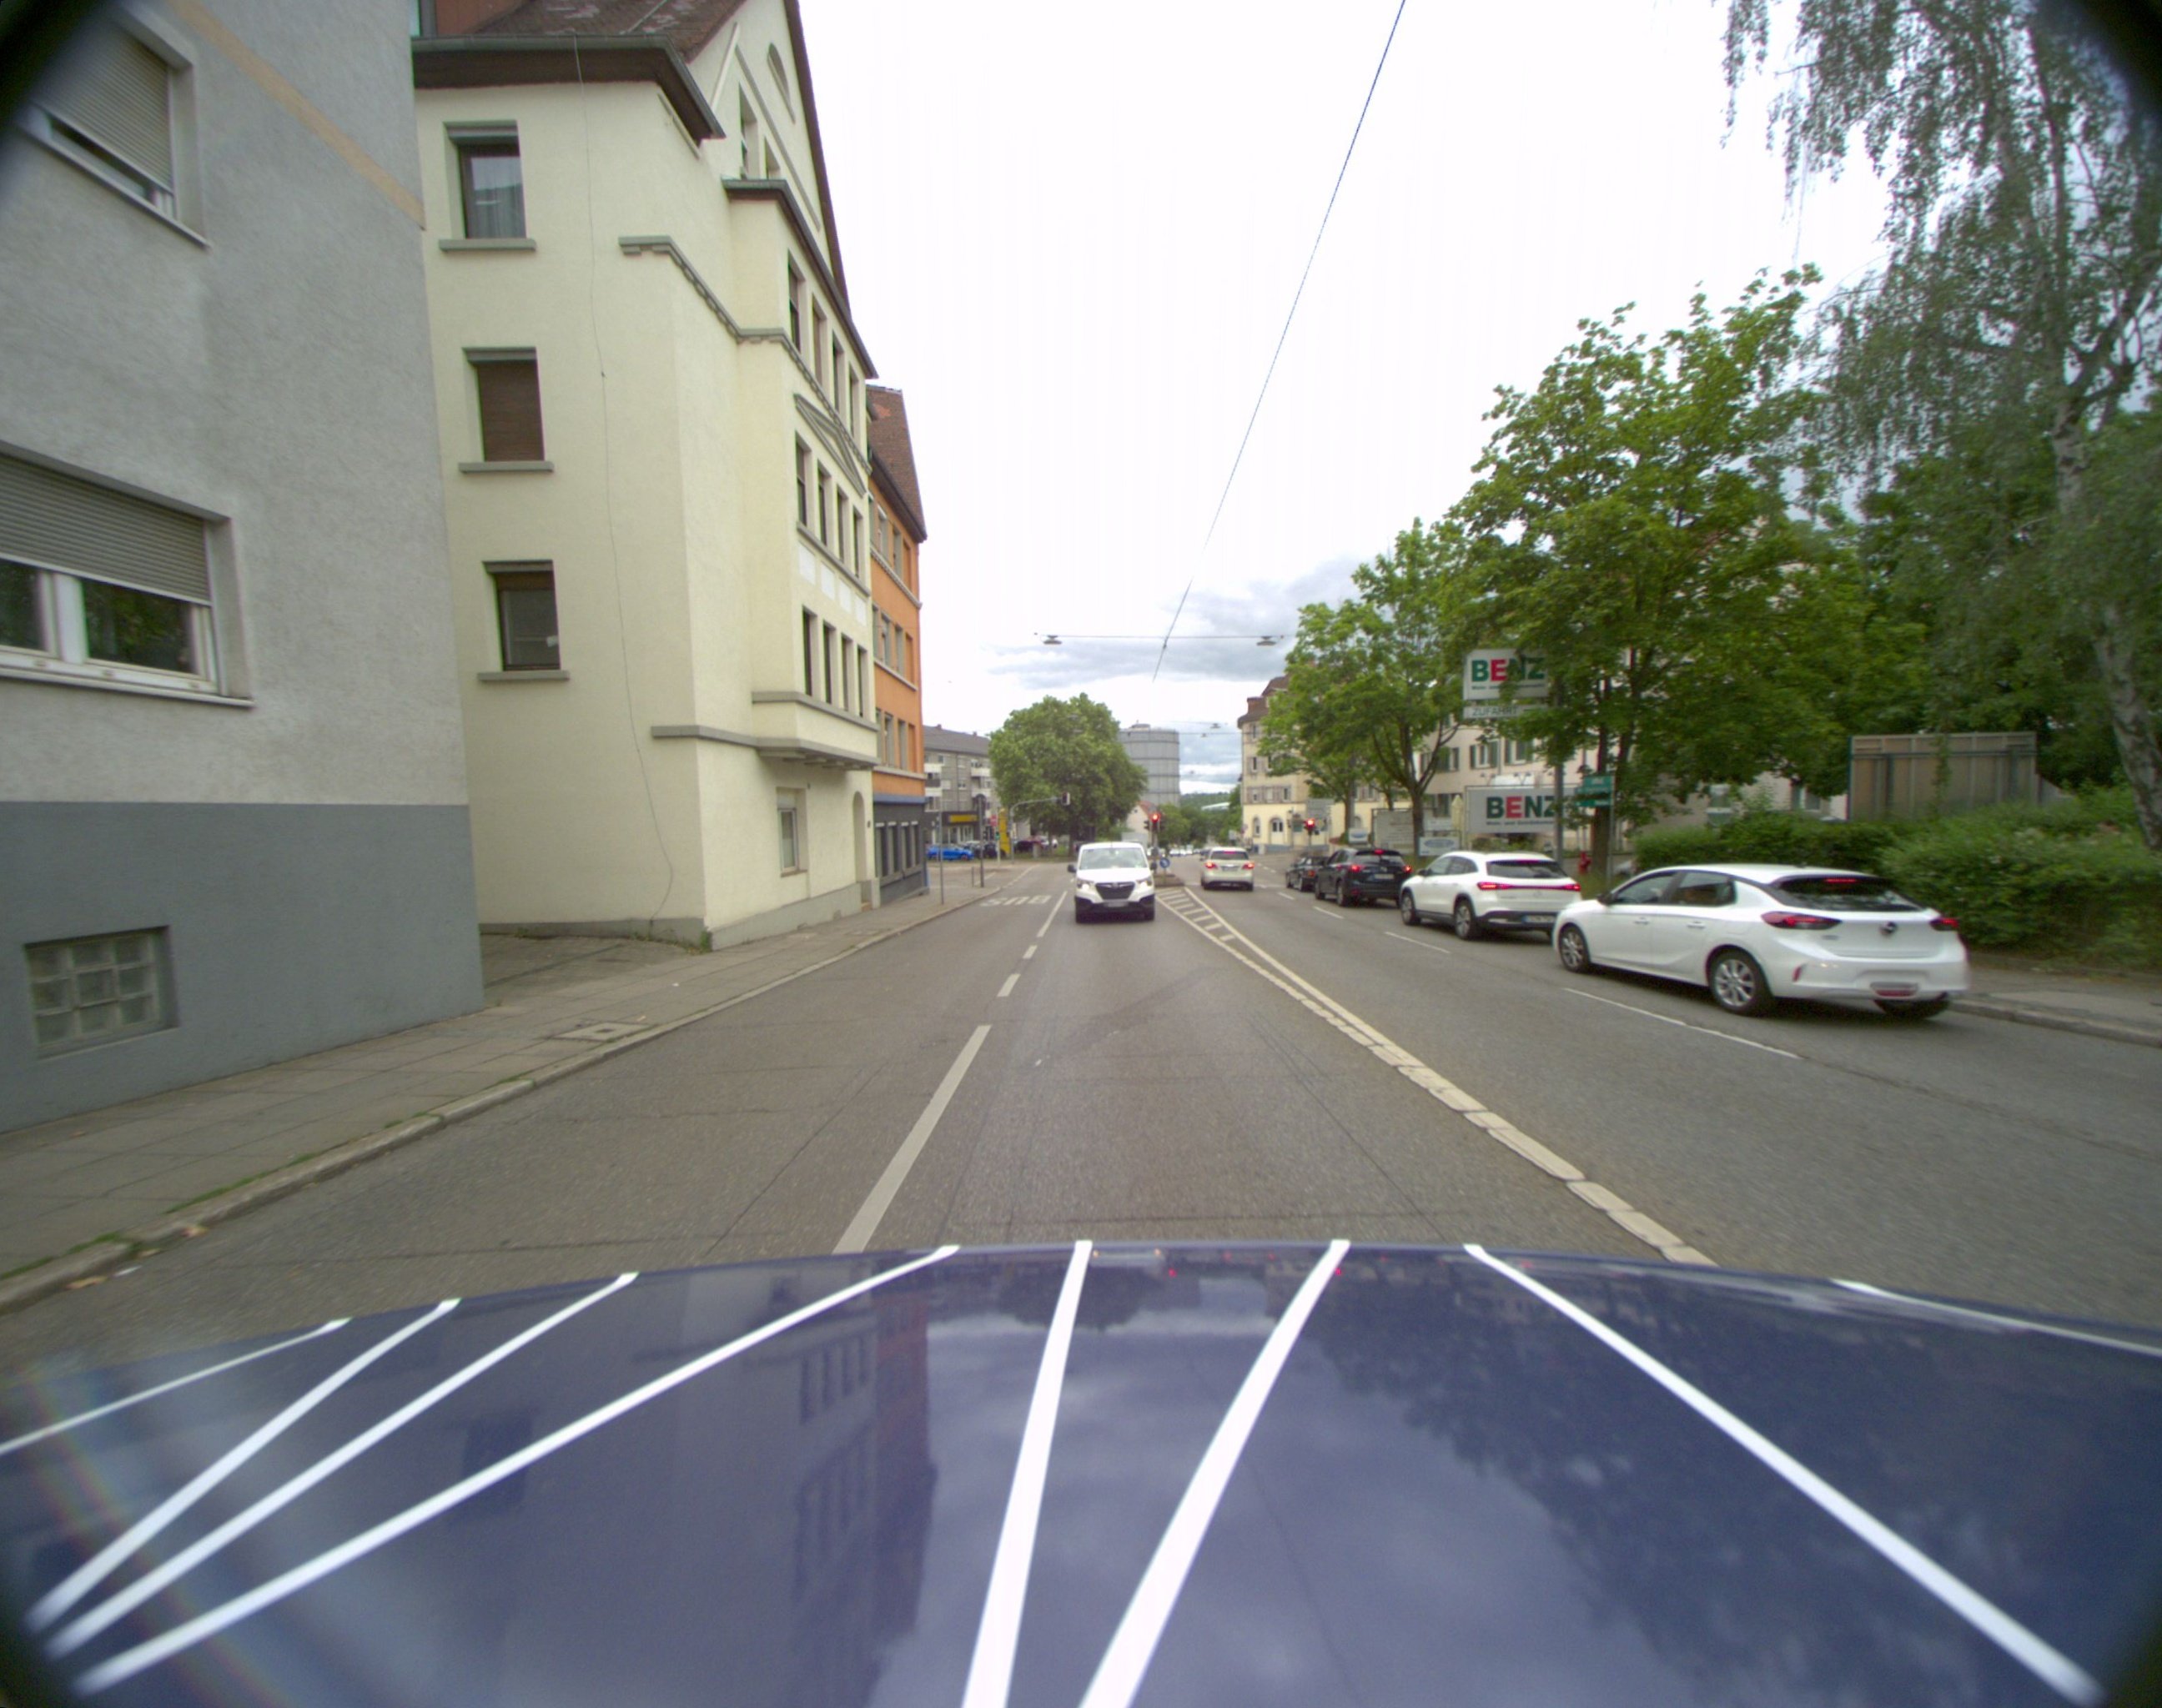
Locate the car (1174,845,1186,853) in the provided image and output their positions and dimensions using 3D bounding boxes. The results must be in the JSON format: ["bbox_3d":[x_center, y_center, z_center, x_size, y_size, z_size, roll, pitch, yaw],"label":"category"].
[{"bbox_3d":[19.882,-1.030,152.045,1.996,1.590,4.003,-2,1,13],"label":"car"}]

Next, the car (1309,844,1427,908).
[{"bbox_3d":[8.129,0.540,21.974,1.955,1.633,4.414,1,1,4],"label":"car"}]

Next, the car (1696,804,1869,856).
[{"bbox_3d":[27.227,-0.885,29.797,2.065,1.793,4.907,-2,1,-4],"label":"car"}]

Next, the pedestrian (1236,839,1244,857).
[{"bbox_3d":[18.174,-0.680,87.064,0.746,1.925,0.904,-4,1,11],"label":"pedestrian"}]

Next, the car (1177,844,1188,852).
[{"bbox_3d":[22.562,-1.405,168.632,1.996,1.590,4.003,-2,1,13],"label":"car"}]

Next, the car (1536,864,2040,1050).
[{"bbox_3d":[7.148,0.895,8.427,1.843,1.404,4.074,1,1,2],"label":"car"}]

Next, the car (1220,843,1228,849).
[{"bbox_3d":[39.322,-2.283,208.900,1.996,1.590,4.003,-2,1,13],"label":"car"}]

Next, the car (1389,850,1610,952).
[{"bbox_3d":[7.751,0.746,14.676,1.956,1.584,4.498,1,1,3],"label":"car"}]

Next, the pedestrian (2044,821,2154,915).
[{"bbox_3d":[17.265,0.226,12.905,0.793,1.552,0.790,-1,1,-2],"label":"pedestrian"}]

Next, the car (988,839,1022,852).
[{"bbox_3d":[-8.960,-1.007,89.776,3.616,1.544,1.617,-2,2,-27],"label":"car"}]

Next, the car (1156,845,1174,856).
[{"bbox_3d":[13.819,-0.595,125.339,1.996,1.620,4.414,-2,1,18],"label":"car"}]

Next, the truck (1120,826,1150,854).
[{"bbox_3d":[7.258,-1.853,100.471,2.769,3.482,8.176,-2,1,12],"label":"truck"}]

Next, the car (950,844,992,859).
[{"bbox_3d":[-10.729,-0.265,74.229,1.824,1.468,4.008,1,1,34],"label":"car"}]

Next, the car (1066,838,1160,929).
[{"bbox_3d":[0.736,0.584,18.321,1.888,1.828,4.676,-3,1,2],"label":"car"}]

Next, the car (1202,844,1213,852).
[{"bbox_3d":[24.451,-1.180,147.338,1.757,1.439,3.754,-2,1,14],"label":"car"}]

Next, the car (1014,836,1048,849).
[{"bbox_3d":[-6.421,-1.479,97.626,4.007,1.496,1.858,-2,2,-36],"label":"car"}]

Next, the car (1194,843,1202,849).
[{"bbox_3d":[32.194,-2.141,209.242,1.996,1.590,4.003,-2,1,13],"label":"car"}]

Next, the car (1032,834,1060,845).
[{"bbox_3d":[-4.943,-2.064,106.834,3.624,1.496,1.787,-2,2,-41],"label":"car"}]

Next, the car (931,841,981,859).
[{"bbox_3d":[-11.479,-0.405,69.857,4.255,1.568,1.829,1,1,2],"label":"car"}]

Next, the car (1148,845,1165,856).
[{"bbox_3d":[11.688,-0.573,117.227,1.996,1.620,4.412,-2,1,13],"label":"car"}]

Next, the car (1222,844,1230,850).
[{"bbox_3d":[41.971,-2.097,219.860,1.996,1.590,4.003,-2,1,13],"label":"car"}]

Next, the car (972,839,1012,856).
[{"bbox_3d":[-9.319,-0.647,79.859,1.823,1.599,4.178,7,4,33],"label":"car"}]

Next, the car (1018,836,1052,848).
[{"bbox_3d":[-6.098,-1.585,100.538,4.007,1.496,1.858,-2,2,-33],"label":"car"}]

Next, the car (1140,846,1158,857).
[{"bbox_3d":[9.750,-0.379,109.315,1.916,1.291,4.412,-2,1,13],"label":"car"}]

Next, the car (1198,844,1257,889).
[{"bbox_3d":[5.465,0.400,28.839,1.779,1.538,4.326,1,1,6],"label":"car"}]

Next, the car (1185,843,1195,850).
[{"bbox_3d":[26.999,-1.945,187.519,1.996,1.590,4.003,-2,1,13],"label":"car"}]

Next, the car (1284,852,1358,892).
[{"bbox_3d":[8.862,0.614,28.384,1.805,1.274,4.237,1,1,6],"label":"car"}]

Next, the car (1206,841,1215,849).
[{"bbox_3d":[29.502,-2.012,173.470,1.868,1.873,4.288,1,1,10],"label":"car"}]
